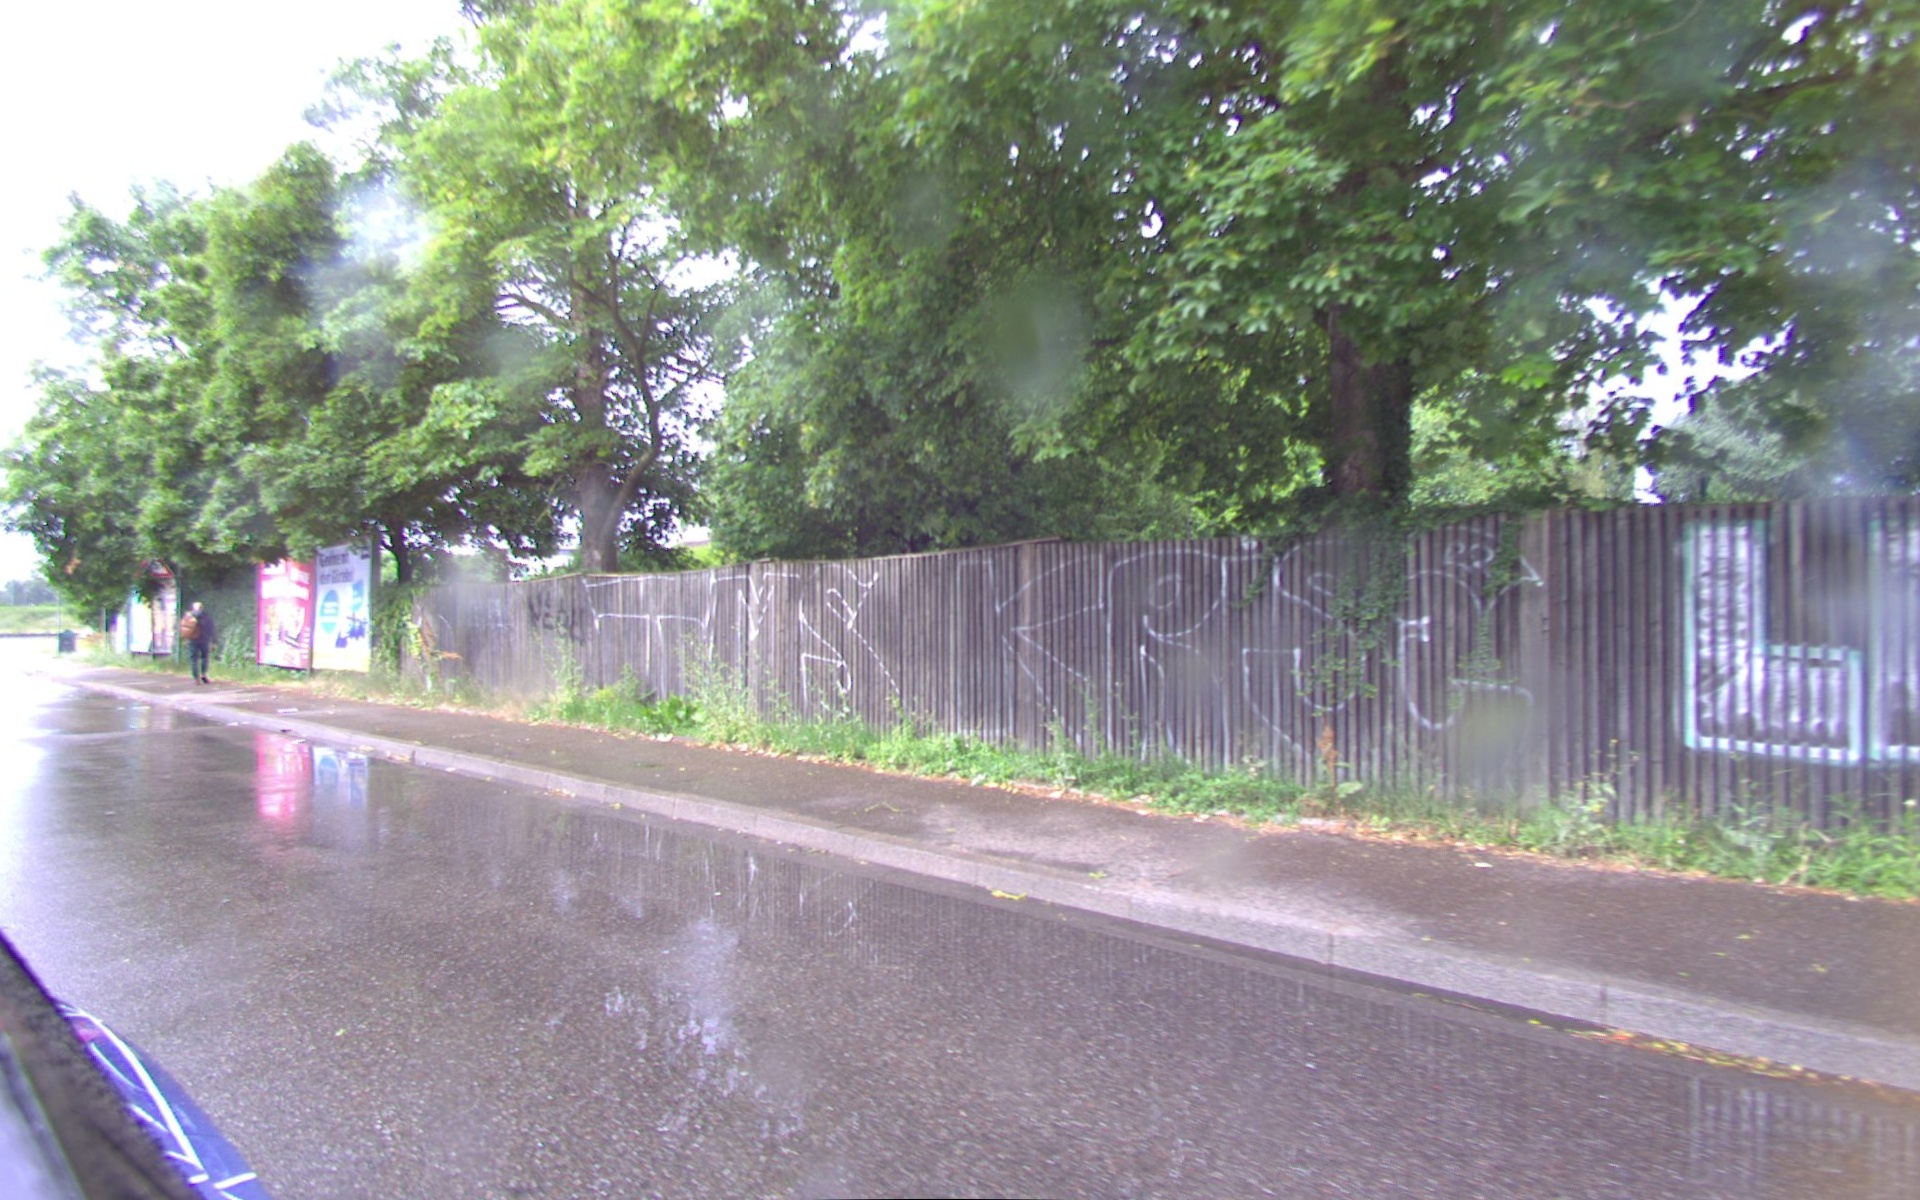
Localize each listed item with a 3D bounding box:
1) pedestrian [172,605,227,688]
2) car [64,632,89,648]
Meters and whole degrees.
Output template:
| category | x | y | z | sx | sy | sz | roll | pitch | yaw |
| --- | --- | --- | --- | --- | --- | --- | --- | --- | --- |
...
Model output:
| category | x | y | z | sx | sy | sz | roll | pitch | yaw |
| --- | --- | --- | --- | --- | --- | --- | --- | --- | --- |
| pedestrian | -16.735 | 1.017 | 22.269 | 0.644 | 1.783 | 0.830 | -2 | -2 | 41 |
| car | -91.477 | 4.125 | 104.791 | 1.770 | 1.645 | 3.625 | 0 | -1 | -38 |
